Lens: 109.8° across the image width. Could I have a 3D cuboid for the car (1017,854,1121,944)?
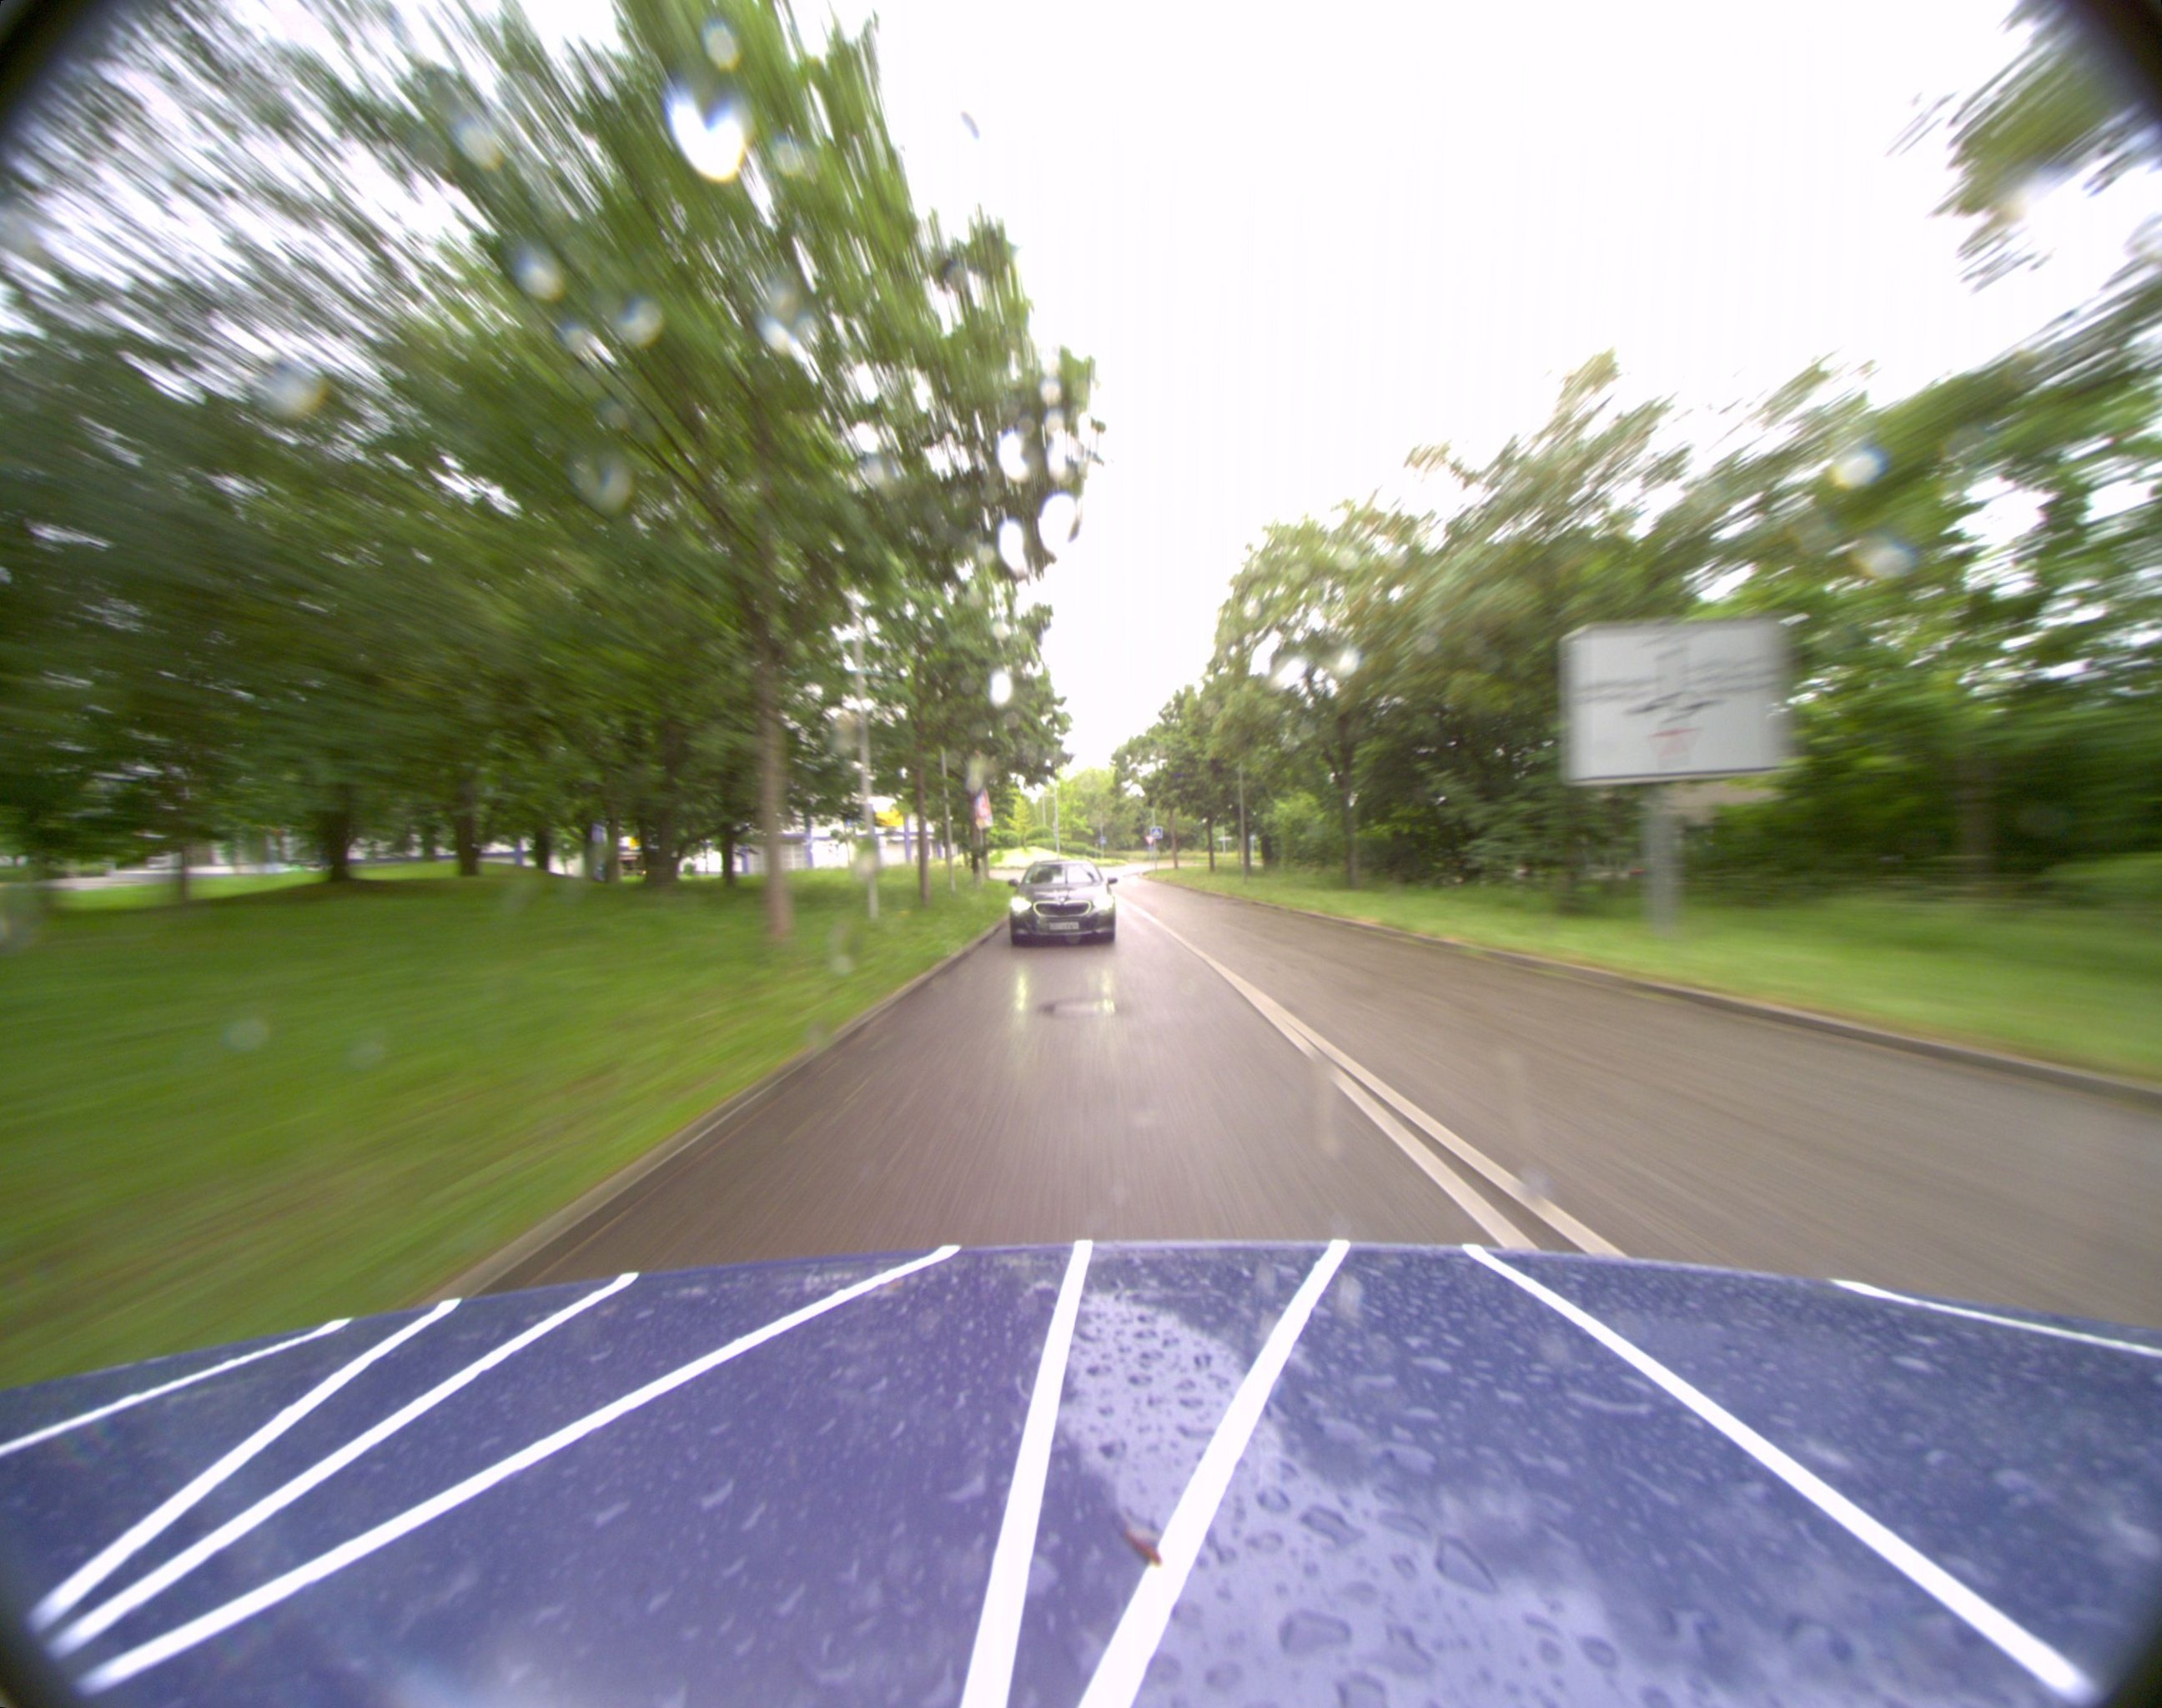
[{"bbox_3d":[-0.254,0.845,16.118,1.845,1.471,3.998,-4,1,-1],"label":"car"}]
